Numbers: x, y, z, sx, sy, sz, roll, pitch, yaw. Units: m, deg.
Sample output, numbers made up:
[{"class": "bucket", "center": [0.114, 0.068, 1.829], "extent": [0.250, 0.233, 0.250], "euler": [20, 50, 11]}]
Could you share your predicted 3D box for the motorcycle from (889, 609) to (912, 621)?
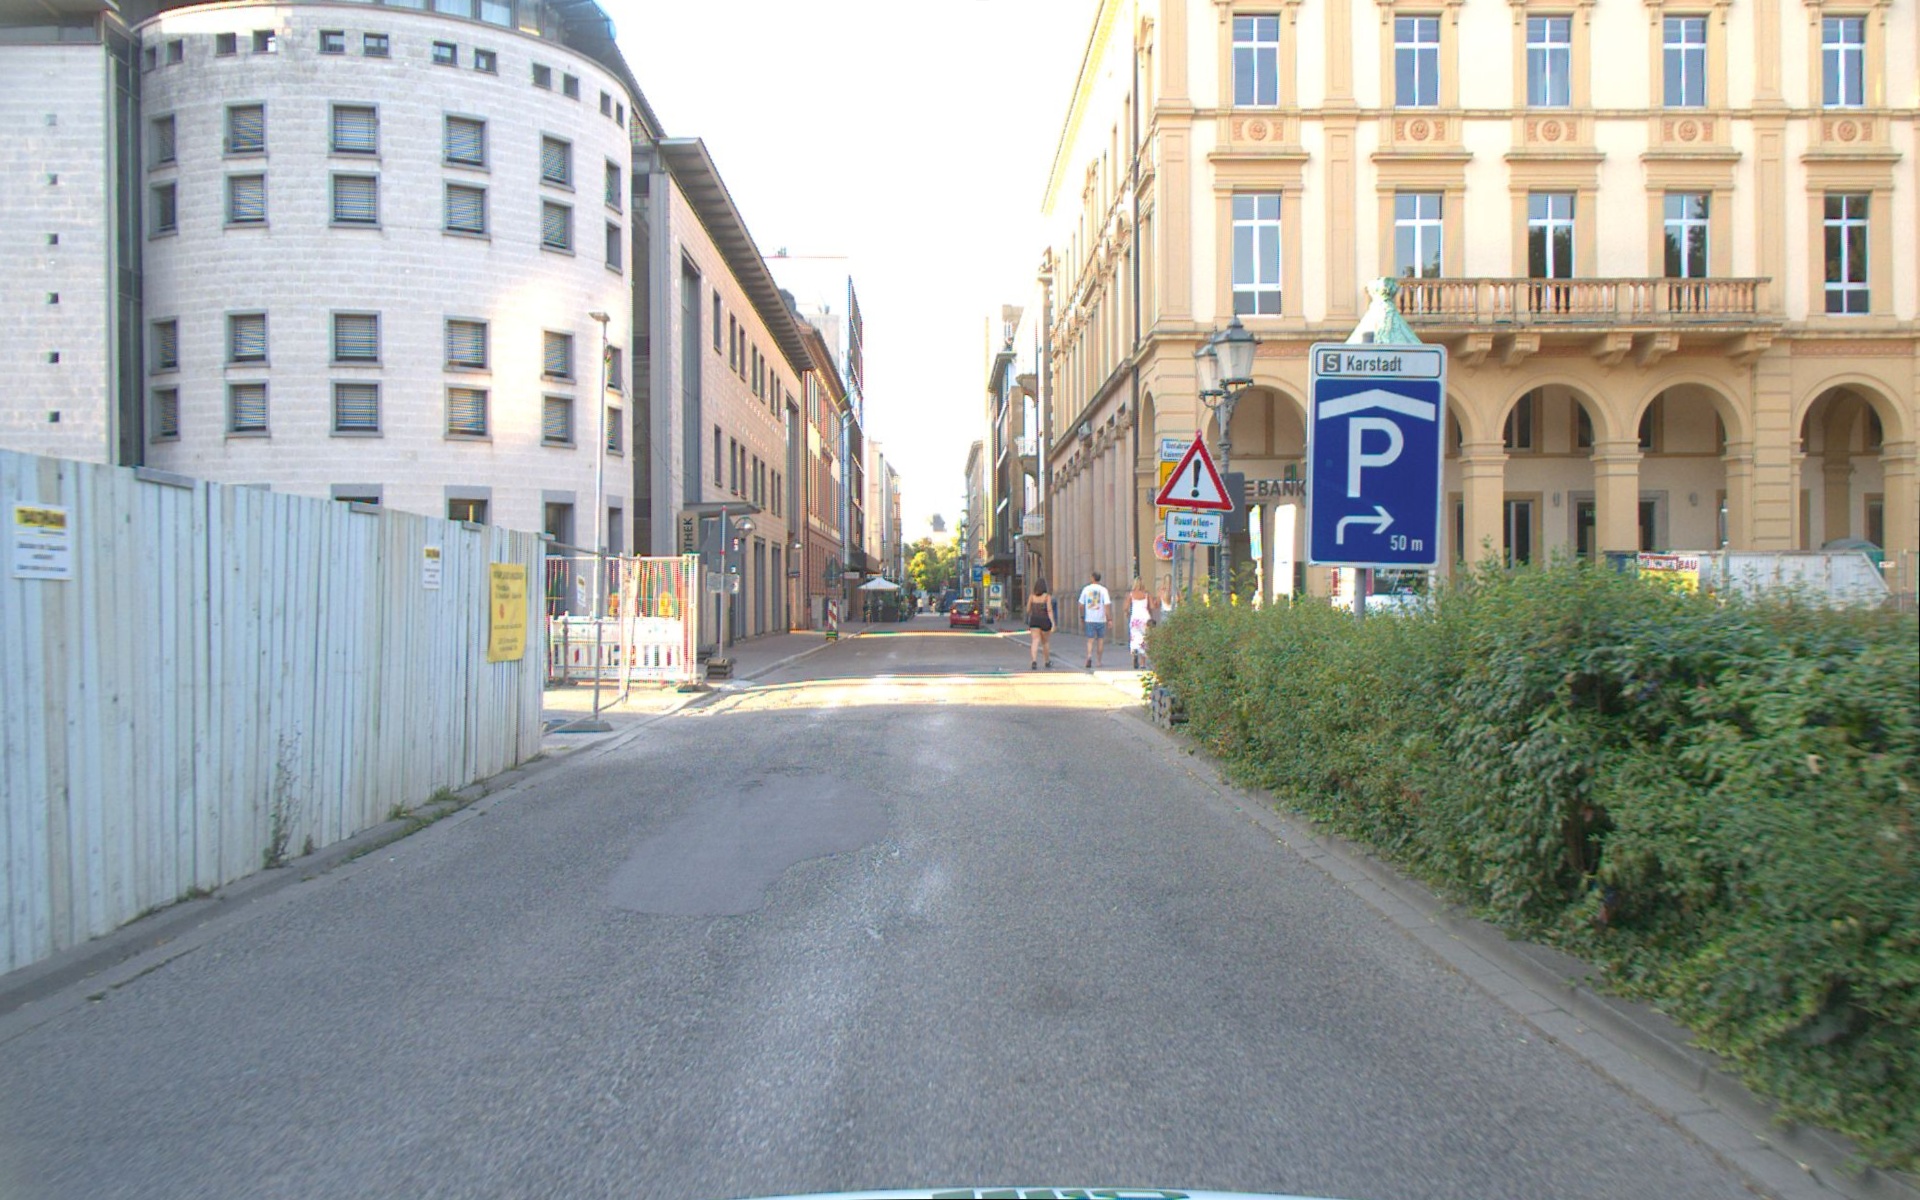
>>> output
[{"class": "motorcycle", "center": [-4.668, 1.151, 128.773], "extent": [1.766, 0.891, 0.560], "euler": [0, 0, -5]}]

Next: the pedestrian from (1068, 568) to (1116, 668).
[{"class": "pedestrian", "center": [2.563, 0.345, 32.217], "extent": [0.795, 1.908, 0.874], "euler": [-1, 0, -2]}]

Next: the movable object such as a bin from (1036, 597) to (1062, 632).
[{"class": "movable object such as a bin", "center": [3.653, 0.576, 68.095], "extent": [0.970, 1.416, 1.240], "euler": [-1, 0, -2]}]

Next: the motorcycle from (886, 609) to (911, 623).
[{"class": "motorcycle", "center": [-4.471, 1.176, 120.664], "extent": [1.766, 1.059, 0.493], "euler": [0, 0, -5]}]

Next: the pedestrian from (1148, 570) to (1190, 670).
[{"class": "pedestrian", "center": [3.903, 0.374, 30.903], "extent": [0.623, 1.835, 0.771], "euler": [-1, 0, -2]}]

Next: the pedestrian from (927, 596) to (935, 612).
[{"class": "pedestrian", "center": [-3.118, 0.441, 175.133], "extent": [0.788, 1.702, 0.888], "euler": [-1, 0, 1]}]

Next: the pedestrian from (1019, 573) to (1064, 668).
[{"class": "pedestrian", "center": [1.564, 0.391, 31.843], "extent": [0.760, 1.777, 0.874], "euler": [-1, 0, -2]}]

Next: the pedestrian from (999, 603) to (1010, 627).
[{"class": "pedestrian", "center": [2.833, 0.962, 105.164], "extent": [0.643, 1.514, 0.493], "euler": [-1, 0, 1]}]

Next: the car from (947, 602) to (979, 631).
[{"class": "car", "center": [0.161, 0.860, 89.014], "extent": [1.616, 1.452, 3.535], "euler": [2, 0, 0]}]

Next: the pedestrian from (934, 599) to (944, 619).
[{"class": "pedestrian", "center": [-1.867, 0.816, 147.191], "extent": [0.848, 1.743, 0.852], "euler": [0, 0, -1]}]

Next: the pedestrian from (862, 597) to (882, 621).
[{"class": "pedestrian", "center": [-5.584, 0.551, 104.706], "extent": [1.265, 1.514, 0.661], "euler": [0, 0, -3]}]

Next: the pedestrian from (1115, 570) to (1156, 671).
[{"class": "pedestrian", "center": [3.266, 0.378, 30.858], "extent": [0.623, 1.835, 0.771], "euler": [-1, 0, -2]}]
